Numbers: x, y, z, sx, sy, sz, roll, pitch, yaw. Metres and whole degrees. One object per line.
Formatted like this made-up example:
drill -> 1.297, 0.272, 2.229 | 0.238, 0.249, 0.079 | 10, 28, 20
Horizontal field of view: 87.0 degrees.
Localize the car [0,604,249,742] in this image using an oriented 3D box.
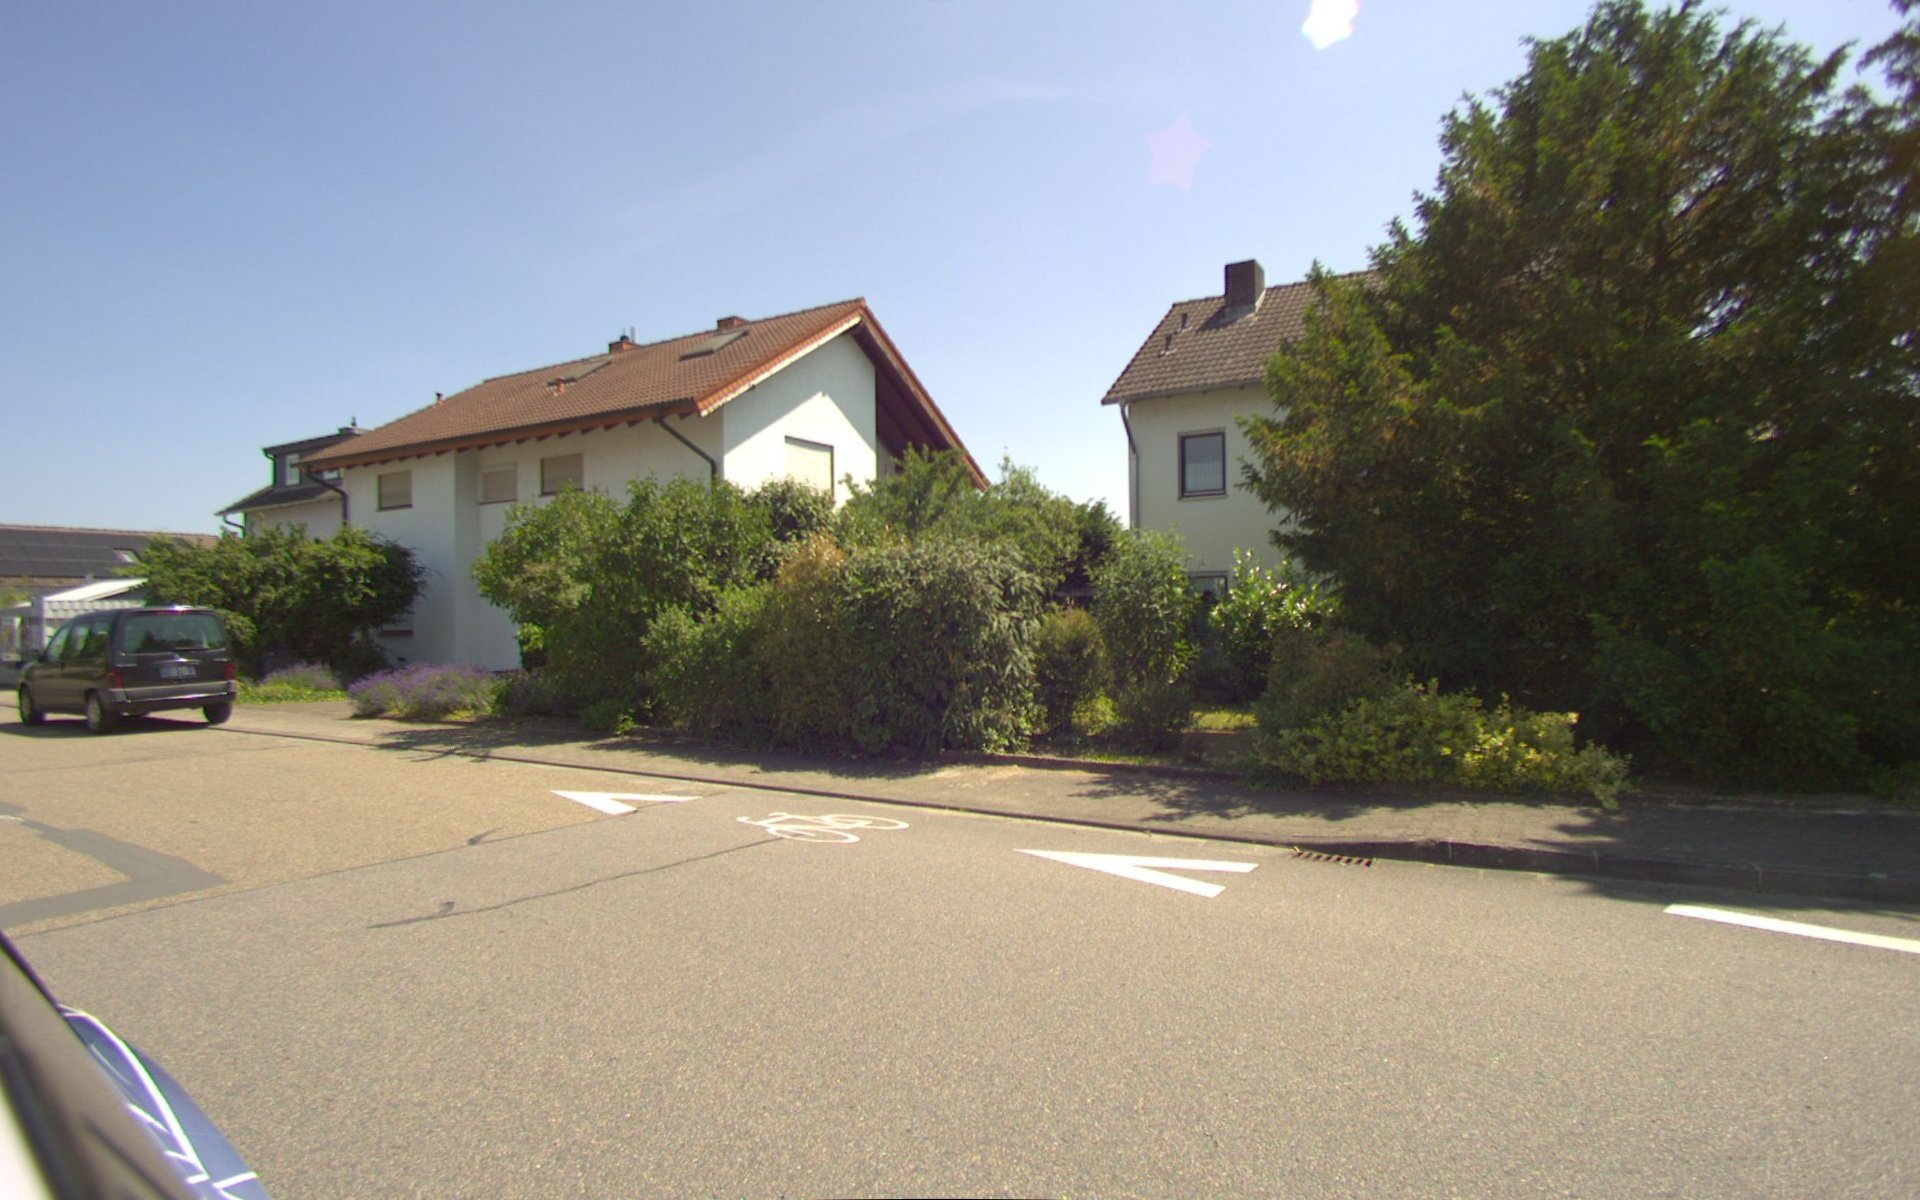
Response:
car -> -12.839, 1.023, 15.482 | 4.038, 1.860, 1.706 | -1, -1, 30
